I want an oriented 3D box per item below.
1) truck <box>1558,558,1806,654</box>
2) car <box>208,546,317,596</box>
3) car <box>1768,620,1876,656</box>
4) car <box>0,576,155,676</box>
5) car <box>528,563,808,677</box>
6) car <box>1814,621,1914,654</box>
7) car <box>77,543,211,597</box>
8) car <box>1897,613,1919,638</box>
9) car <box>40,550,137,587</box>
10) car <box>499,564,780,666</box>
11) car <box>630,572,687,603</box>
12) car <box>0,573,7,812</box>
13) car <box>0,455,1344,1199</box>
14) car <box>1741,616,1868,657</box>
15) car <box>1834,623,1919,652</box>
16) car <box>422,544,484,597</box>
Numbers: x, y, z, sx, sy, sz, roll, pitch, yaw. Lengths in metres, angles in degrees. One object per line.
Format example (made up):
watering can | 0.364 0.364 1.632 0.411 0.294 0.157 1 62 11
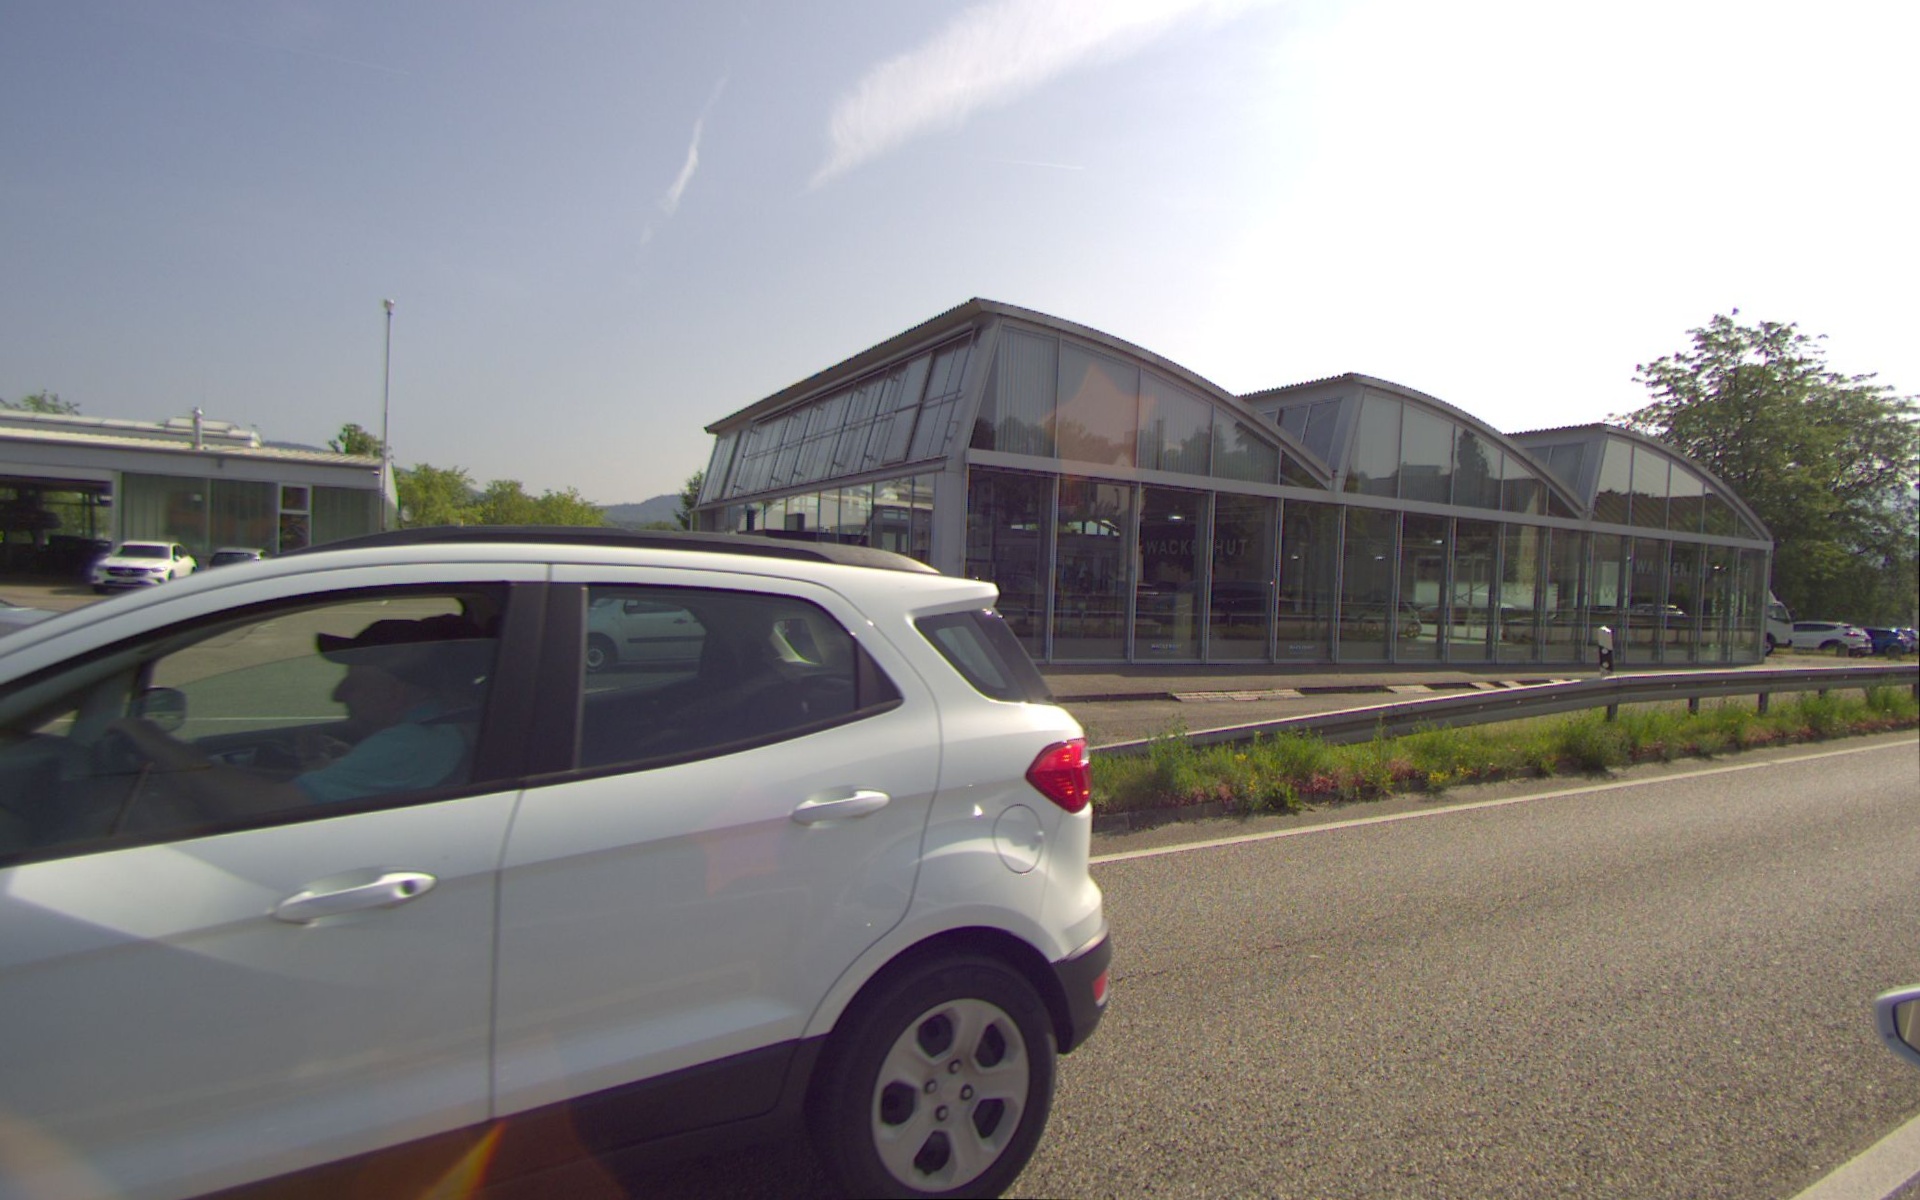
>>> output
truck | 30.382 0.199 42.612 8.045 3.604 2.808 2 1 8
car | -23.801 -0.981 34.466 2.180 1.587 4.802 0 1 -24
car | 42.652 1.851 49.780 1.915 1.520 3.719 1 1 -38
car | -14.997 0.355 14.673 4.772 1.405 1.797 0 1 -29
car | -4.969 0.292 17.189 4.352 1.736 1.798 0 1 -28
car | 49.502 2.034 55.073 1.913 1.520 3.721 2 1 -36
car | -26.359 -0.951 32.665 2.180 1.587 4.802 0 1 -24
car | 81.190 2.184 83.907 1.959 2.040 4.908 1 0 12
car | -39.876 -1.433 45.950 4.496 1.587 2.205 2 2 33
car | -6.072 0.240 19.196 4.878 1.736 1.797 0 1 -29
car | -13.813 -0.596 45.865 1.882 1.307 4.802 1 1 -24
car | -8.406 0.544 6.288 4.150 1.527 1.985 1 0 22
car | -1.059 0.637 2.737 4.180 1.651 1.782 1 -1 -32
car | 40.416 1.706 48.148 1.915 1.677 4.317 1 1 -37
car | 54.090 2.188 59.104 1.844 1.479 3.721 2 0 -36
car | -21.147 -1.203 41.858 2.183 2.050 4.795 0 1 -28
